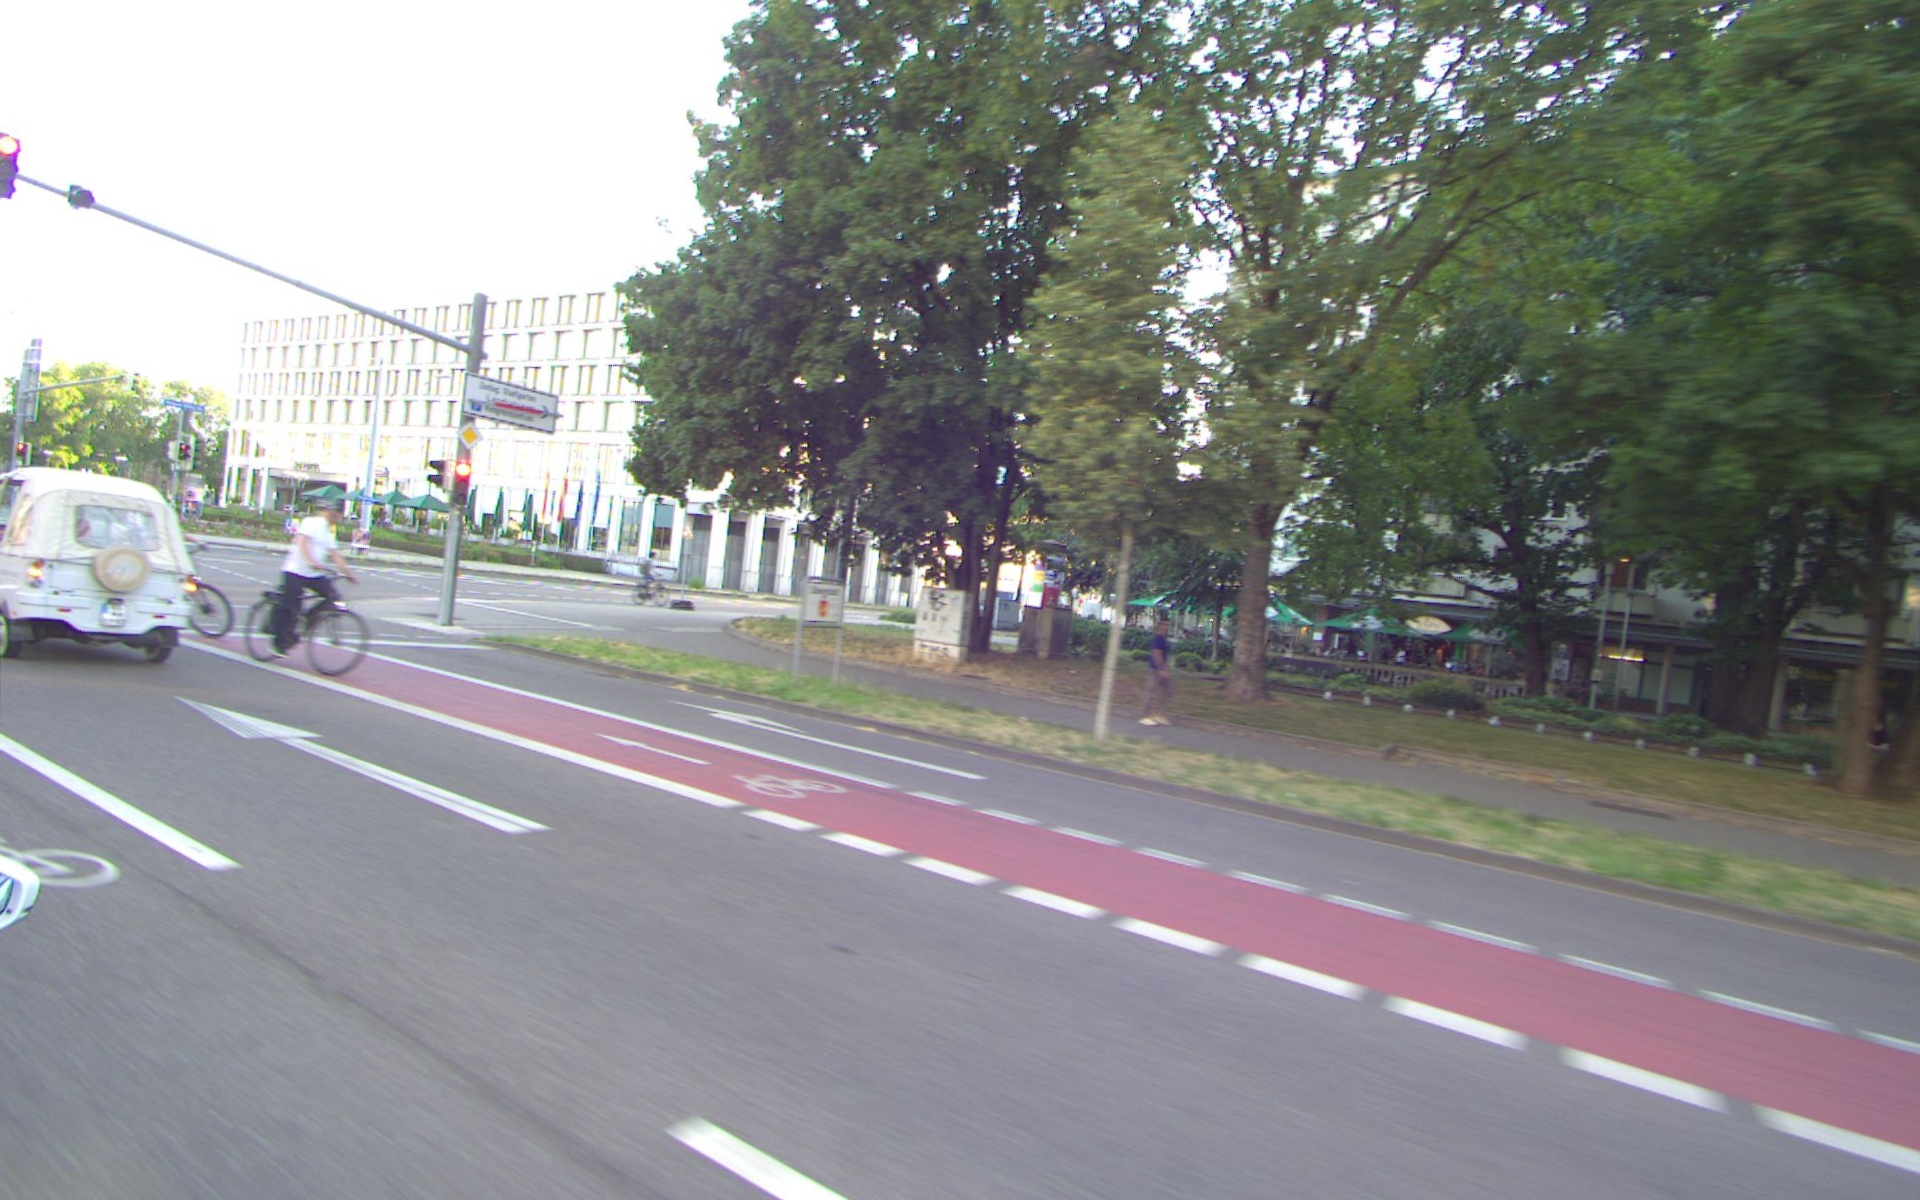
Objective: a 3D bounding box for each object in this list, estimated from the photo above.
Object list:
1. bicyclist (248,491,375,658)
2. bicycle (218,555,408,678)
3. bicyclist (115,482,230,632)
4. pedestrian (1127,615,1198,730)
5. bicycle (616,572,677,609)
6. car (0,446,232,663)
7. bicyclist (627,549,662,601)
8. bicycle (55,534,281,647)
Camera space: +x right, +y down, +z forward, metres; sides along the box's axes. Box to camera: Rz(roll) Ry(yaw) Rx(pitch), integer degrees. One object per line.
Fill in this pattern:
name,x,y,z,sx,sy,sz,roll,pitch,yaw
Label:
bicyclist,-7.106,-0.266,11.043,0.735,1.714,0.764,7,1,24
bicycle,-7.106,0.179,11.039,1.868,1.081,0.731,8,-1,23
bicyclist,-9.711,-0.516,12.433,0.735,1.714,0.714,6,1,-8
pedestrian,3.221,1.142,15.996,0.736,1.714,0.695,7,1,31
bicycle,-11.042,-0.324,35.505,0.719,1.082,1.897,7,-1,35
car,-8.669,-0.482,9.981,2.523,1.803,1.460,9,1,35
bicyclist,-11.087,-0.888,35.350,0.704,1.714,0.746,7,1,35
bicycle,-9.754,-0.105,12.461,1.988,1.081,0.730,8,-1,-9
